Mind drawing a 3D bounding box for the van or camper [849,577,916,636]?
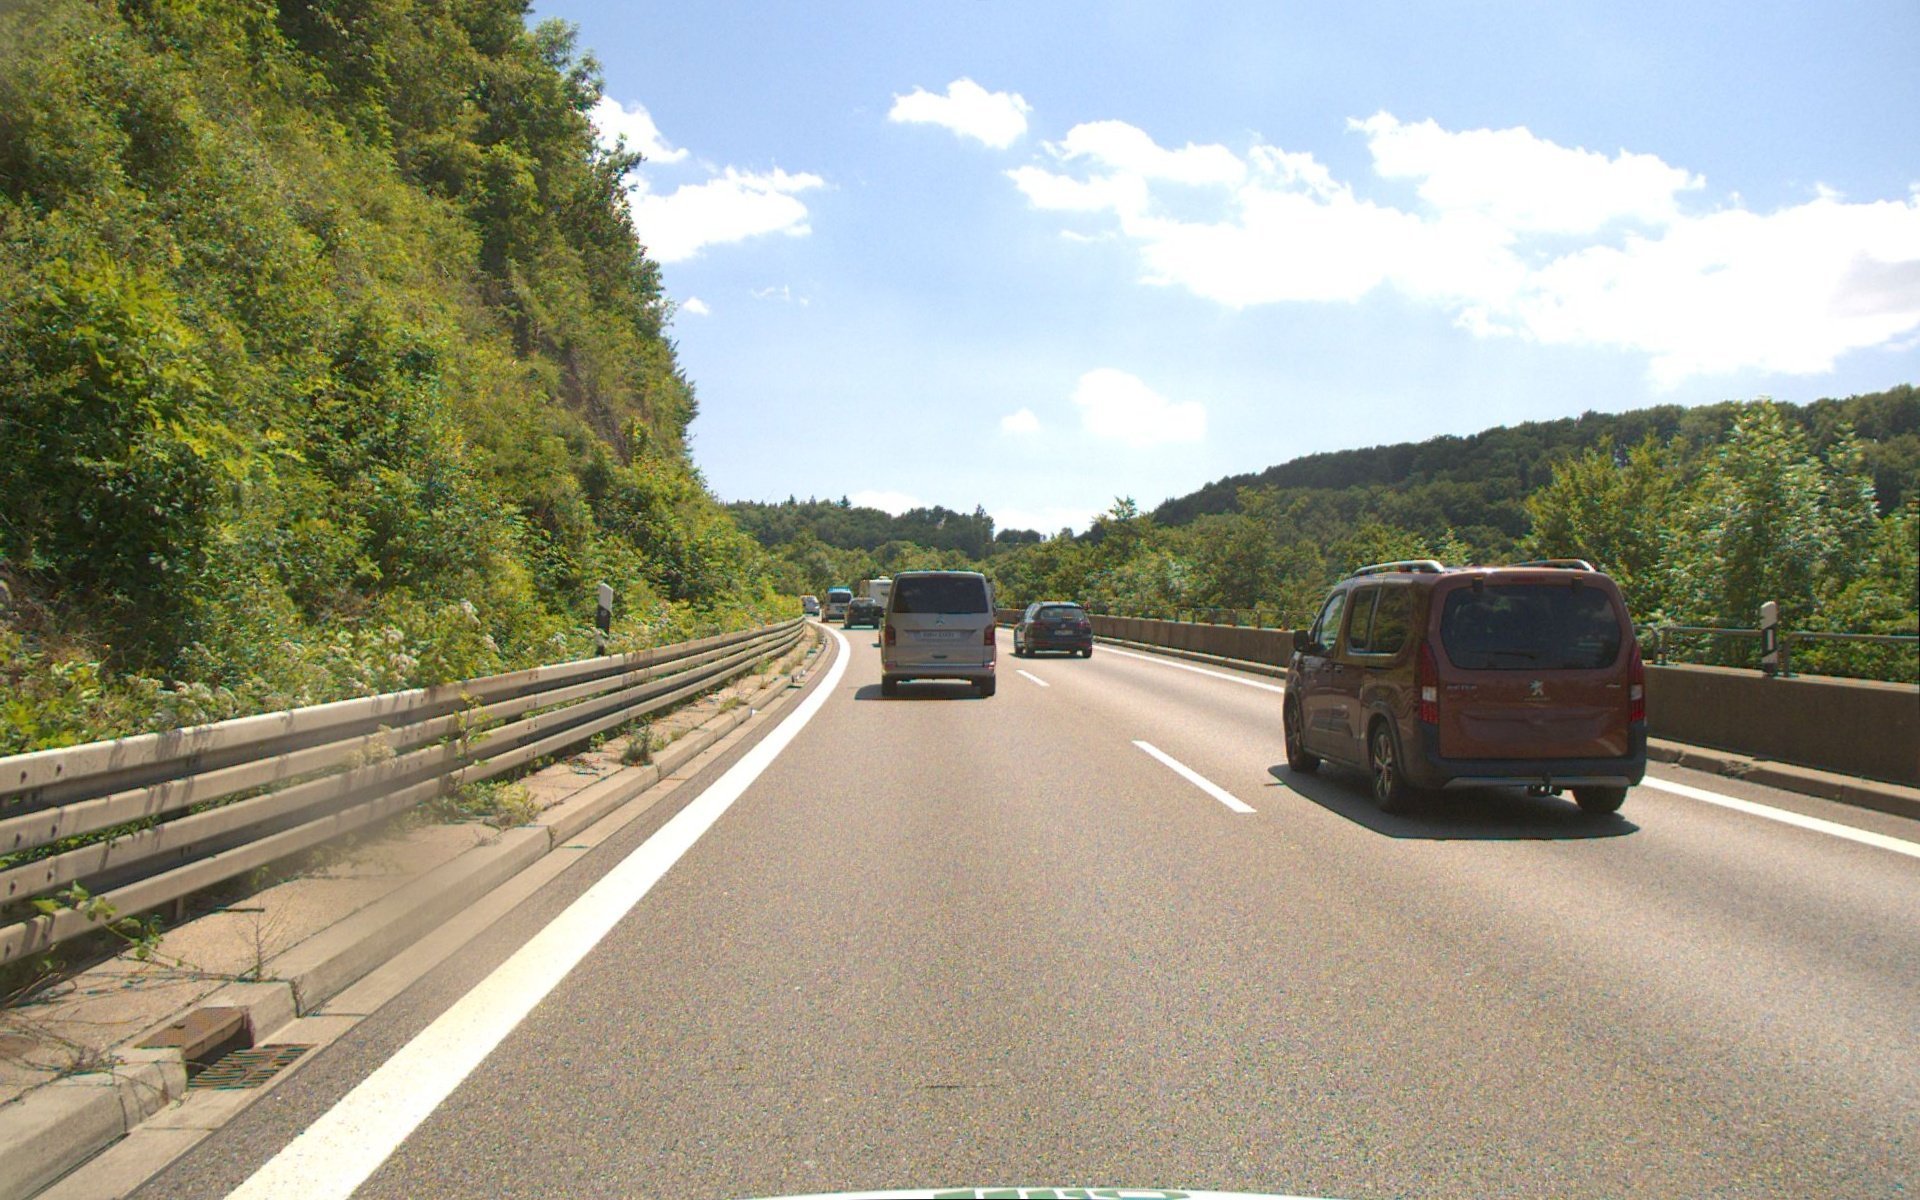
[{"bbox_3d":[-5.353,0.445,112.806,3.219,3.855,8.087,1,0,-12],"label":"van or camper"}]

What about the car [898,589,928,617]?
[{"bbox_3d":[-3.602,0.198,125.822,1.955,2.049,3.994,1,0,-7],"label":"car"}]

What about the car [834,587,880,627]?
[{"bbox_3d":[-4.953,0.341,79.275,1.956,1.849,3.993,1,0,-7],"label":"car"}]

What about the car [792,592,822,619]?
[{"bbox_3d":[-11.013,0.386,118.895,1.956,1.948,3.993,1,0,-8],"label":"car"}]

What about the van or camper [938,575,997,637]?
[{"bbox_3d":[0.300,0.260,72.991,2.219,2.596,4.732,-1,0,-4],"label":"van or camper"}]

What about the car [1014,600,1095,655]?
[{"bbox_3d":[2.520,0.707,44.688,1.734,1.400,3.589,1,0,-4],"label":"car"}]

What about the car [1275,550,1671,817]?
[{"bbox_3d":[3.951,0.589,13.631,1.796,1.815,4.675,0,-1,0],"label":"car"}]

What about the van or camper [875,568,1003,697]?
[{"bbox_3d":[-0.428,0.503,27.709,1.839,1.983,4.289,0,0,-5],"label":"van or camper"}]

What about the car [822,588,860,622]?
[{"bbox_3d":[-6.811,0.282,95.333,1.953,1.849,3.999,1,0,-1],"label":"car"}]
